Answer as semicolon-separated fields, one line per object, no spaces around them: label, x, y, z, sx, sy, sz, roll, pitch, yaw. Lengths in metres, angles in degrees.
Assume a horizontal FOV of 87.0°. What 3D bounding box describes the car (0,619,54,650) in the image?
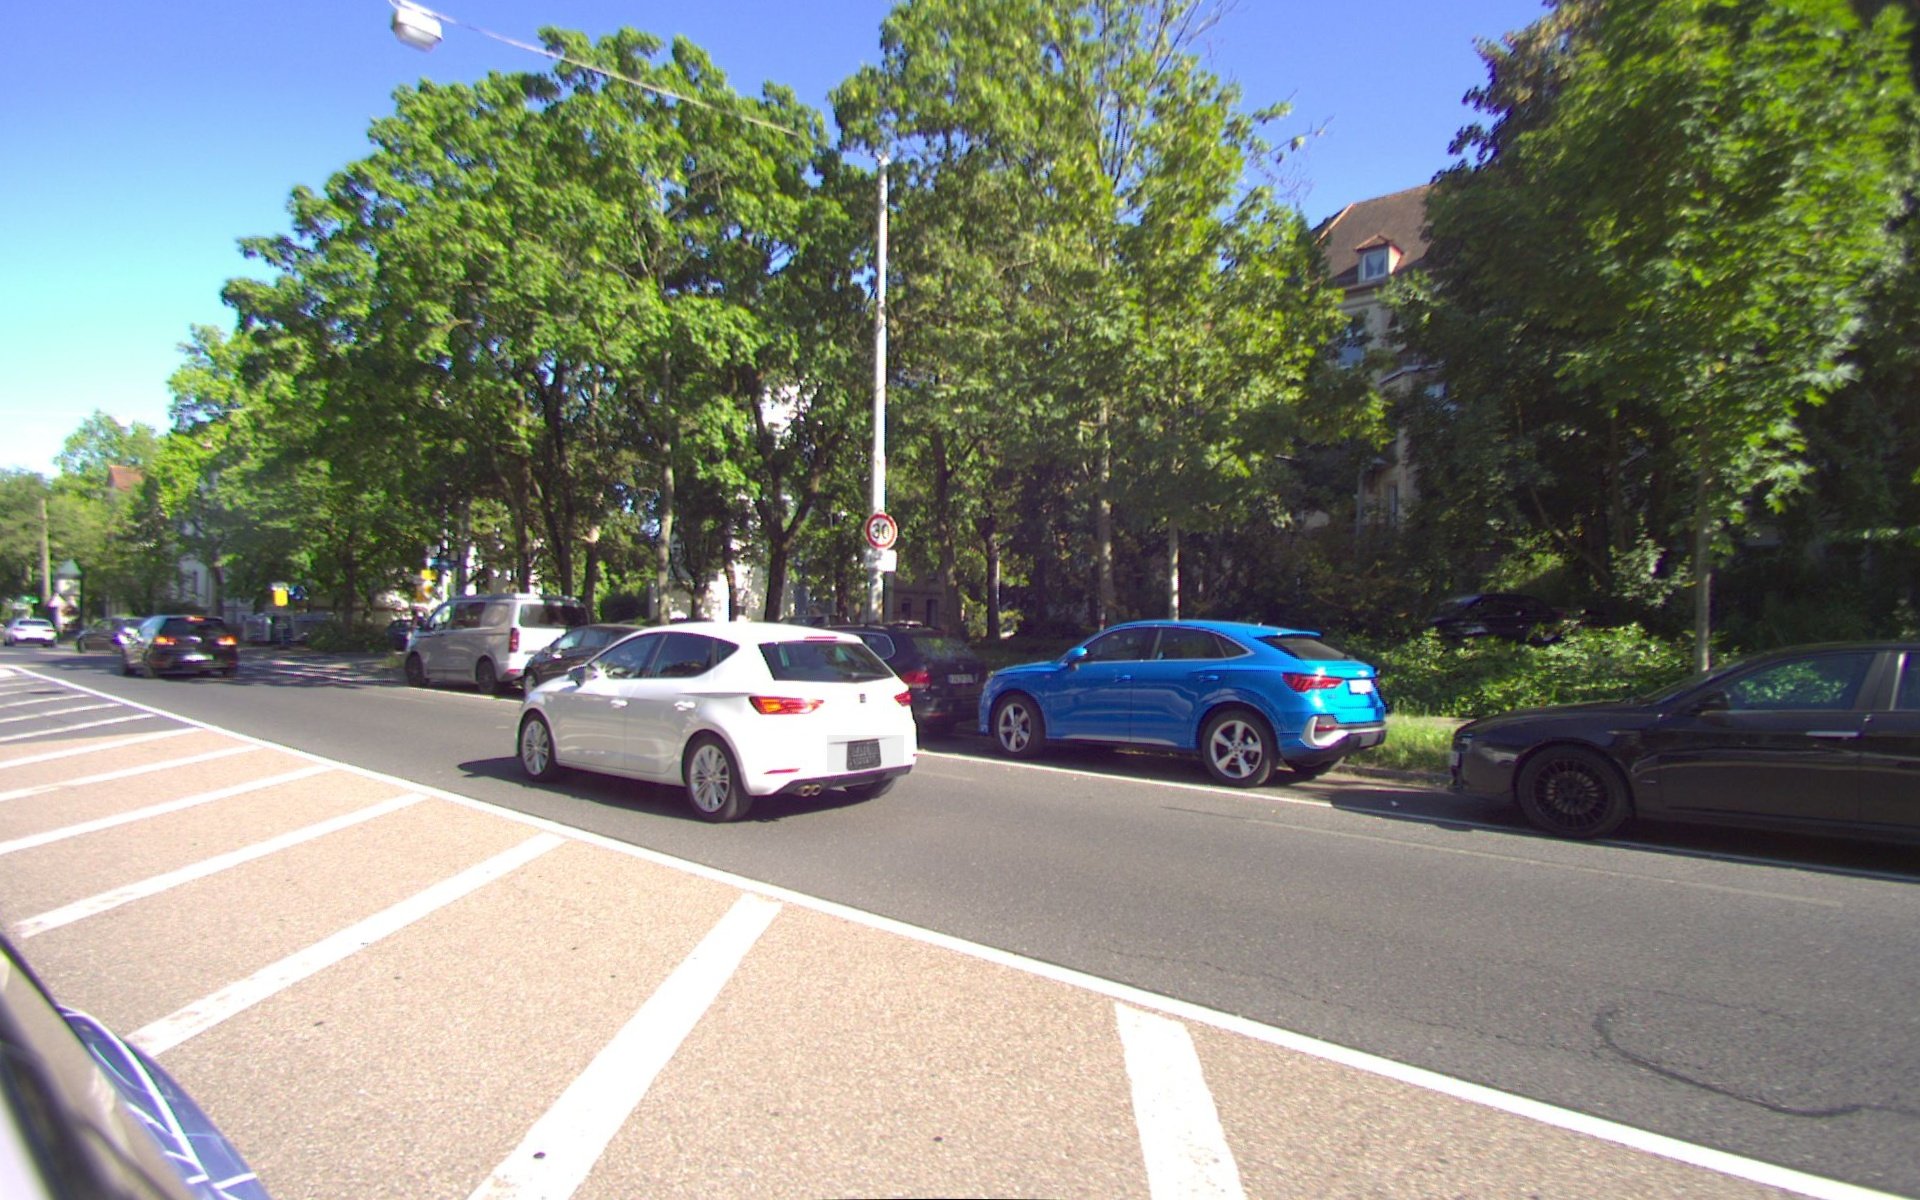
car;-47.381;1.725;51.278;4.713;1.505;1.784;-1;-2;43

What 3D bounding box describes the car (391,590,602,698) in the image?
car;-9.959;0.924;21.604;4.867;2.052;1.965;-1;-4;37

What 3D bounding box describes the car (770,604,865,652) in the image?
car;-7.075;1.387;49.878;4.915;2.263;1.868;-1;-3;42

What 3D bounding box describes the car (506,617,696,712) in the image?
car;-6.552;1.094;18.271;3.957;1.513;1.448;0;-3;41

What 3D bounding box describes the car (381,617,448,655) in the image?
car;-25.632;1.665;47.487;1.864;1.701;4.708;2;-3;-39

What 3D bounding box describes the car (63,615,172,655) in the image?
car;-33.764;1.401;40.575;3.756;1.502;1.830;0;-2;23

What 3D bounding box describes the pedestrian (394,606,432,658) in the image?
pedestrian;-18.958;1.098;35.081;0.817;1.768;0.863;-1;-1;30

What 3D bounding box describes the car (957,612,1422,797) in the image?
car;2.235;0.947;10.749;4.559;1.550;1.761;-1;-3;43

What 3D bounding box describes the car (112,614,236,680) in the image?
car;-18.962;1.078;24.363;4.131;1.461;1.576;-1;-2;41

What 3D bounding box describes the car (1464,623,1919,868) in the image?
car;5.970;0.895;6.735;4.403;1.424;1.762;-1;-4;41

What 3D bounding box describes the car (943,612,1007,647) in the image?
car;1.160;2.298;79.198;4.914;2.643;1.869;-1;-3;41

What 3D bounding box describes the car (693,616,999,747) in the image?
car;-1.664;1.013;13.882;4.266;1.493;1.575;0;-3;38

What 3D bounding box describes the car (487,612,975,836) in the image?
car;-2.103;0.840;8.664;4.221;1.430;1.899;0;-1;39
